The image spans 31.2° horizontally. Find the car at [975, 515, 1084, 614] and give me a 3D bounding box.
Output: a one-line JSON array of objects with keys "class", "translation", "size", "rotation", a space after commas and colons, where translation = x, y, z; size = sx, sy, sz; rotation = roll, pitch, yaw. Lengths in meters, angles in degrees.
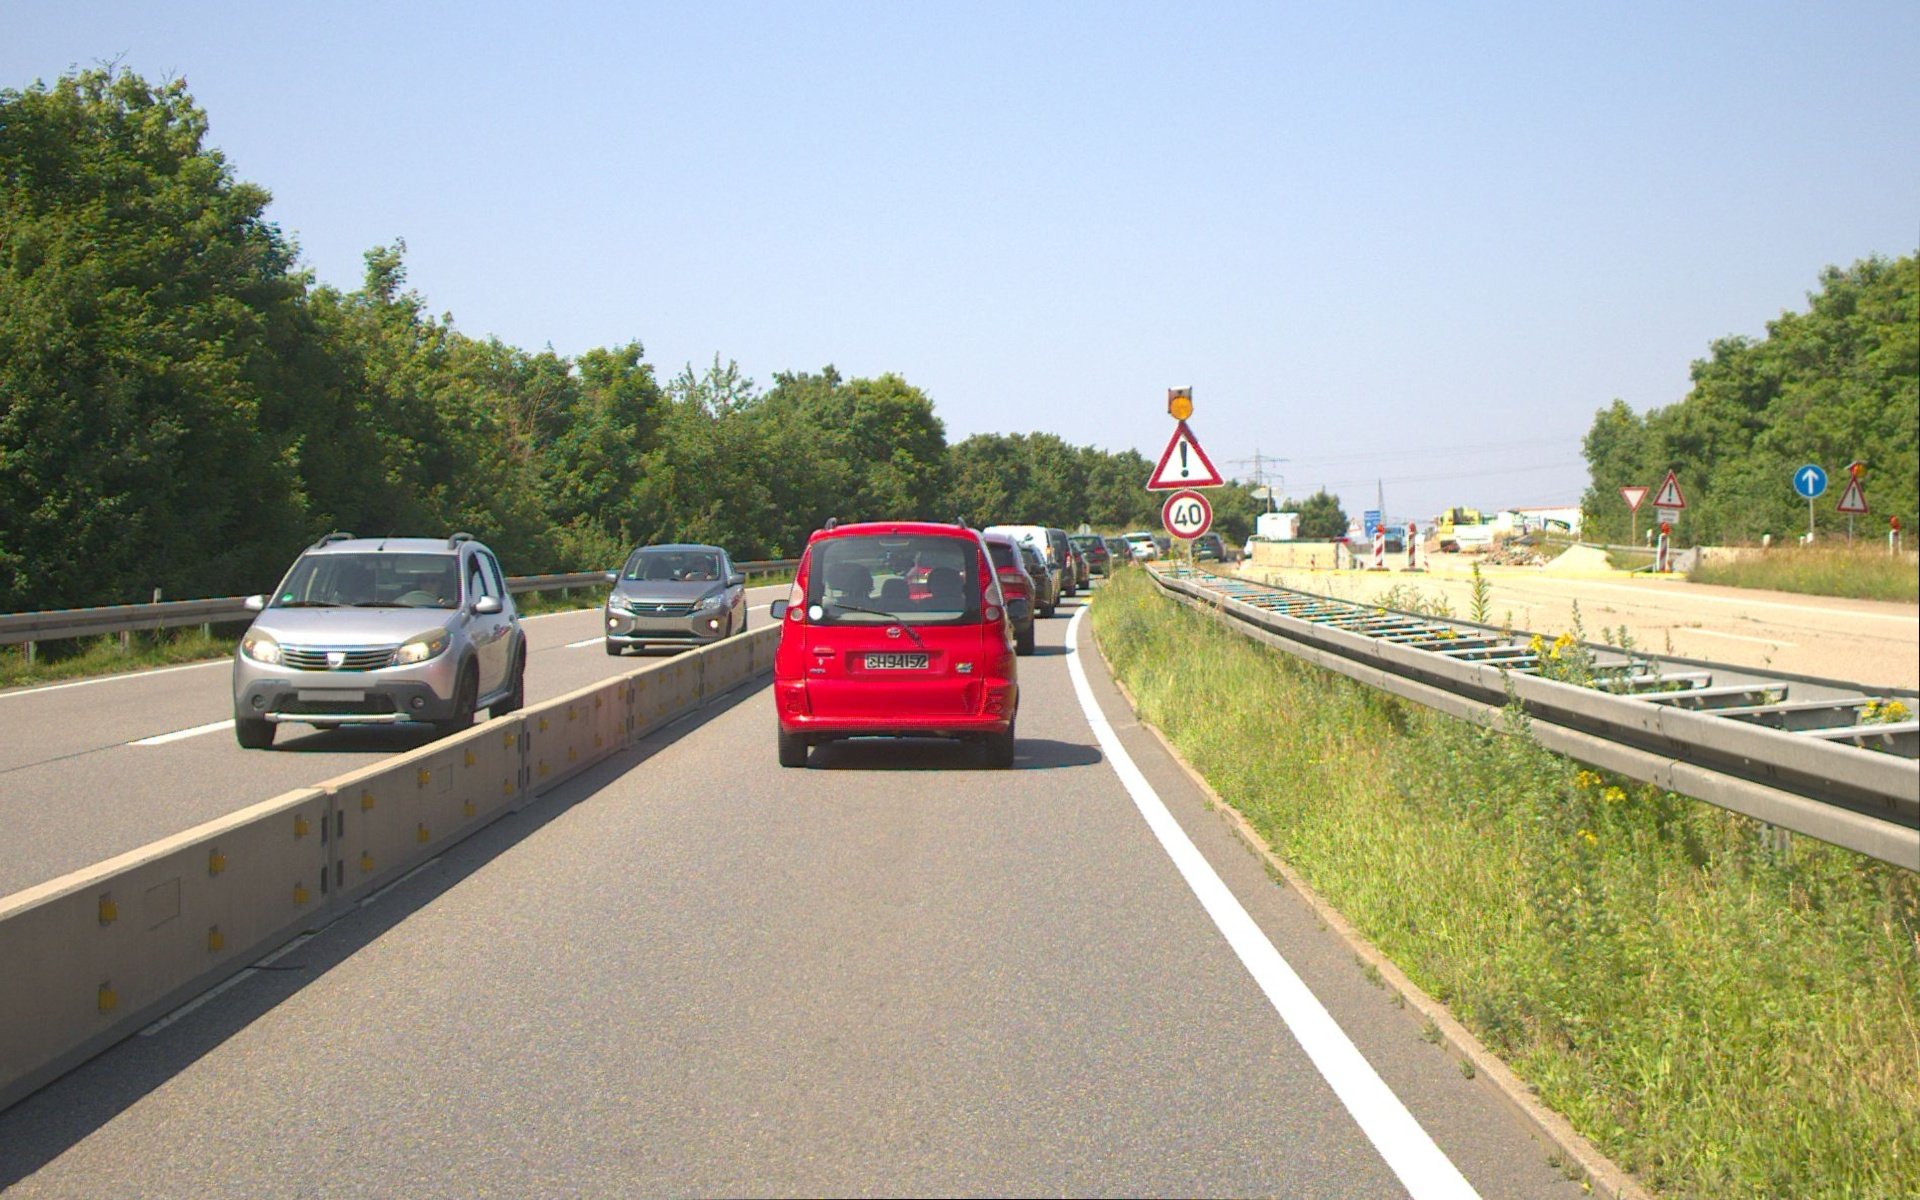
[{"class": "car", "translation": [1.323, -0.706, 67.160], "size": [1.993, 1.831, 4.000], "rotation": [-1, 1, 0]}]

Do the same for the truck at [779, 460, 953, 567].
[{"class": "truck", "translation": [-4.867, -4.479, 179.086], "size": [8.622, 5.357, 3.388], "rotation": [-1, 1, 5]}]

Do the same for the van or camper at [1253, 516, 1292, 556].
[{"class": "van or camper", "translation": [21.456, -4.362, 236.371], "size": [2.328, 2.697, 4.593], "rotation": [-1, 1, 1]}]

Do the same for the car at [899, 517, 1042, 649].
[{"class": "car", "translation": [0.111, -0.260, 47.596], "size": [1.830, 1.716, 4.000], "rotation": [-1, 1, -2]}]

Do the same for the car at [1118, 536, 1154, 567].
[{"class": "car", "translation": [7.759, -2.147, 151.159], "size": [1.421, 1.294, 2.878], "rotation": [-1, 1, 6]}]

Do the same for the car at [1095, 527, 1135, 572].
[{"class": "car", "translation": [6.167, -1.999, 136.500], "size": [1.502, 1.730, 3.169], "rotation": [0, 1, 4]}]

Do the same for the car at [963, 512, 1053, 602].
[{"class": "car", "translation": [1.073, -0.995, 78.349], "size": [1.993, 1.997, 4.000], "rotation": [0, 1, 0]}]

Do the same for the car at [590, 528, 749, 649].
[{"class": "car", "translation": [-3.949, -0.170, 47.368], "size": [1.948, 1.573, 4.436], "rotation": [0, 1, -2]}]

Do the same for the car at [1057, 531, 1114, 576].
[{"class": "car", "translation": [4.432, -1.643, 121.621], "size": [1.993, 1.579, 4.000], "rotation": [0, 1, 2]}]

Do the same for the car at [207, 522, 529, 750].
[{"class": "car", "translation": [-4.483, 0.235, 26.551], "size": [1.829, 1.624, 3.784], "rotation": [0, 1, 0]}]

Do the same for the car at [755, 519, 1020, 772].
[{"class": "car", "translation": [-0.531, 0.266, 24.736], "size": [1.751, 1.667, 4.000], "rotation": [0, 1, -2]}]

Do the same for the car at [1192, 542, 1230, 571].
[{"class": "car", "translation": [13.940, -2.420, 190.847], "size": [1.994, 1.546, 4.000], "rotation": [0, 1, 3]}]

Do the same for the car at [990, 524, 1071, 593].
[{"class": "car", "translation": [1.823, -1.097, 90.105], "size": [1.993, 1.744, 4.000], "rotation": [-1, 1, 0]}]
